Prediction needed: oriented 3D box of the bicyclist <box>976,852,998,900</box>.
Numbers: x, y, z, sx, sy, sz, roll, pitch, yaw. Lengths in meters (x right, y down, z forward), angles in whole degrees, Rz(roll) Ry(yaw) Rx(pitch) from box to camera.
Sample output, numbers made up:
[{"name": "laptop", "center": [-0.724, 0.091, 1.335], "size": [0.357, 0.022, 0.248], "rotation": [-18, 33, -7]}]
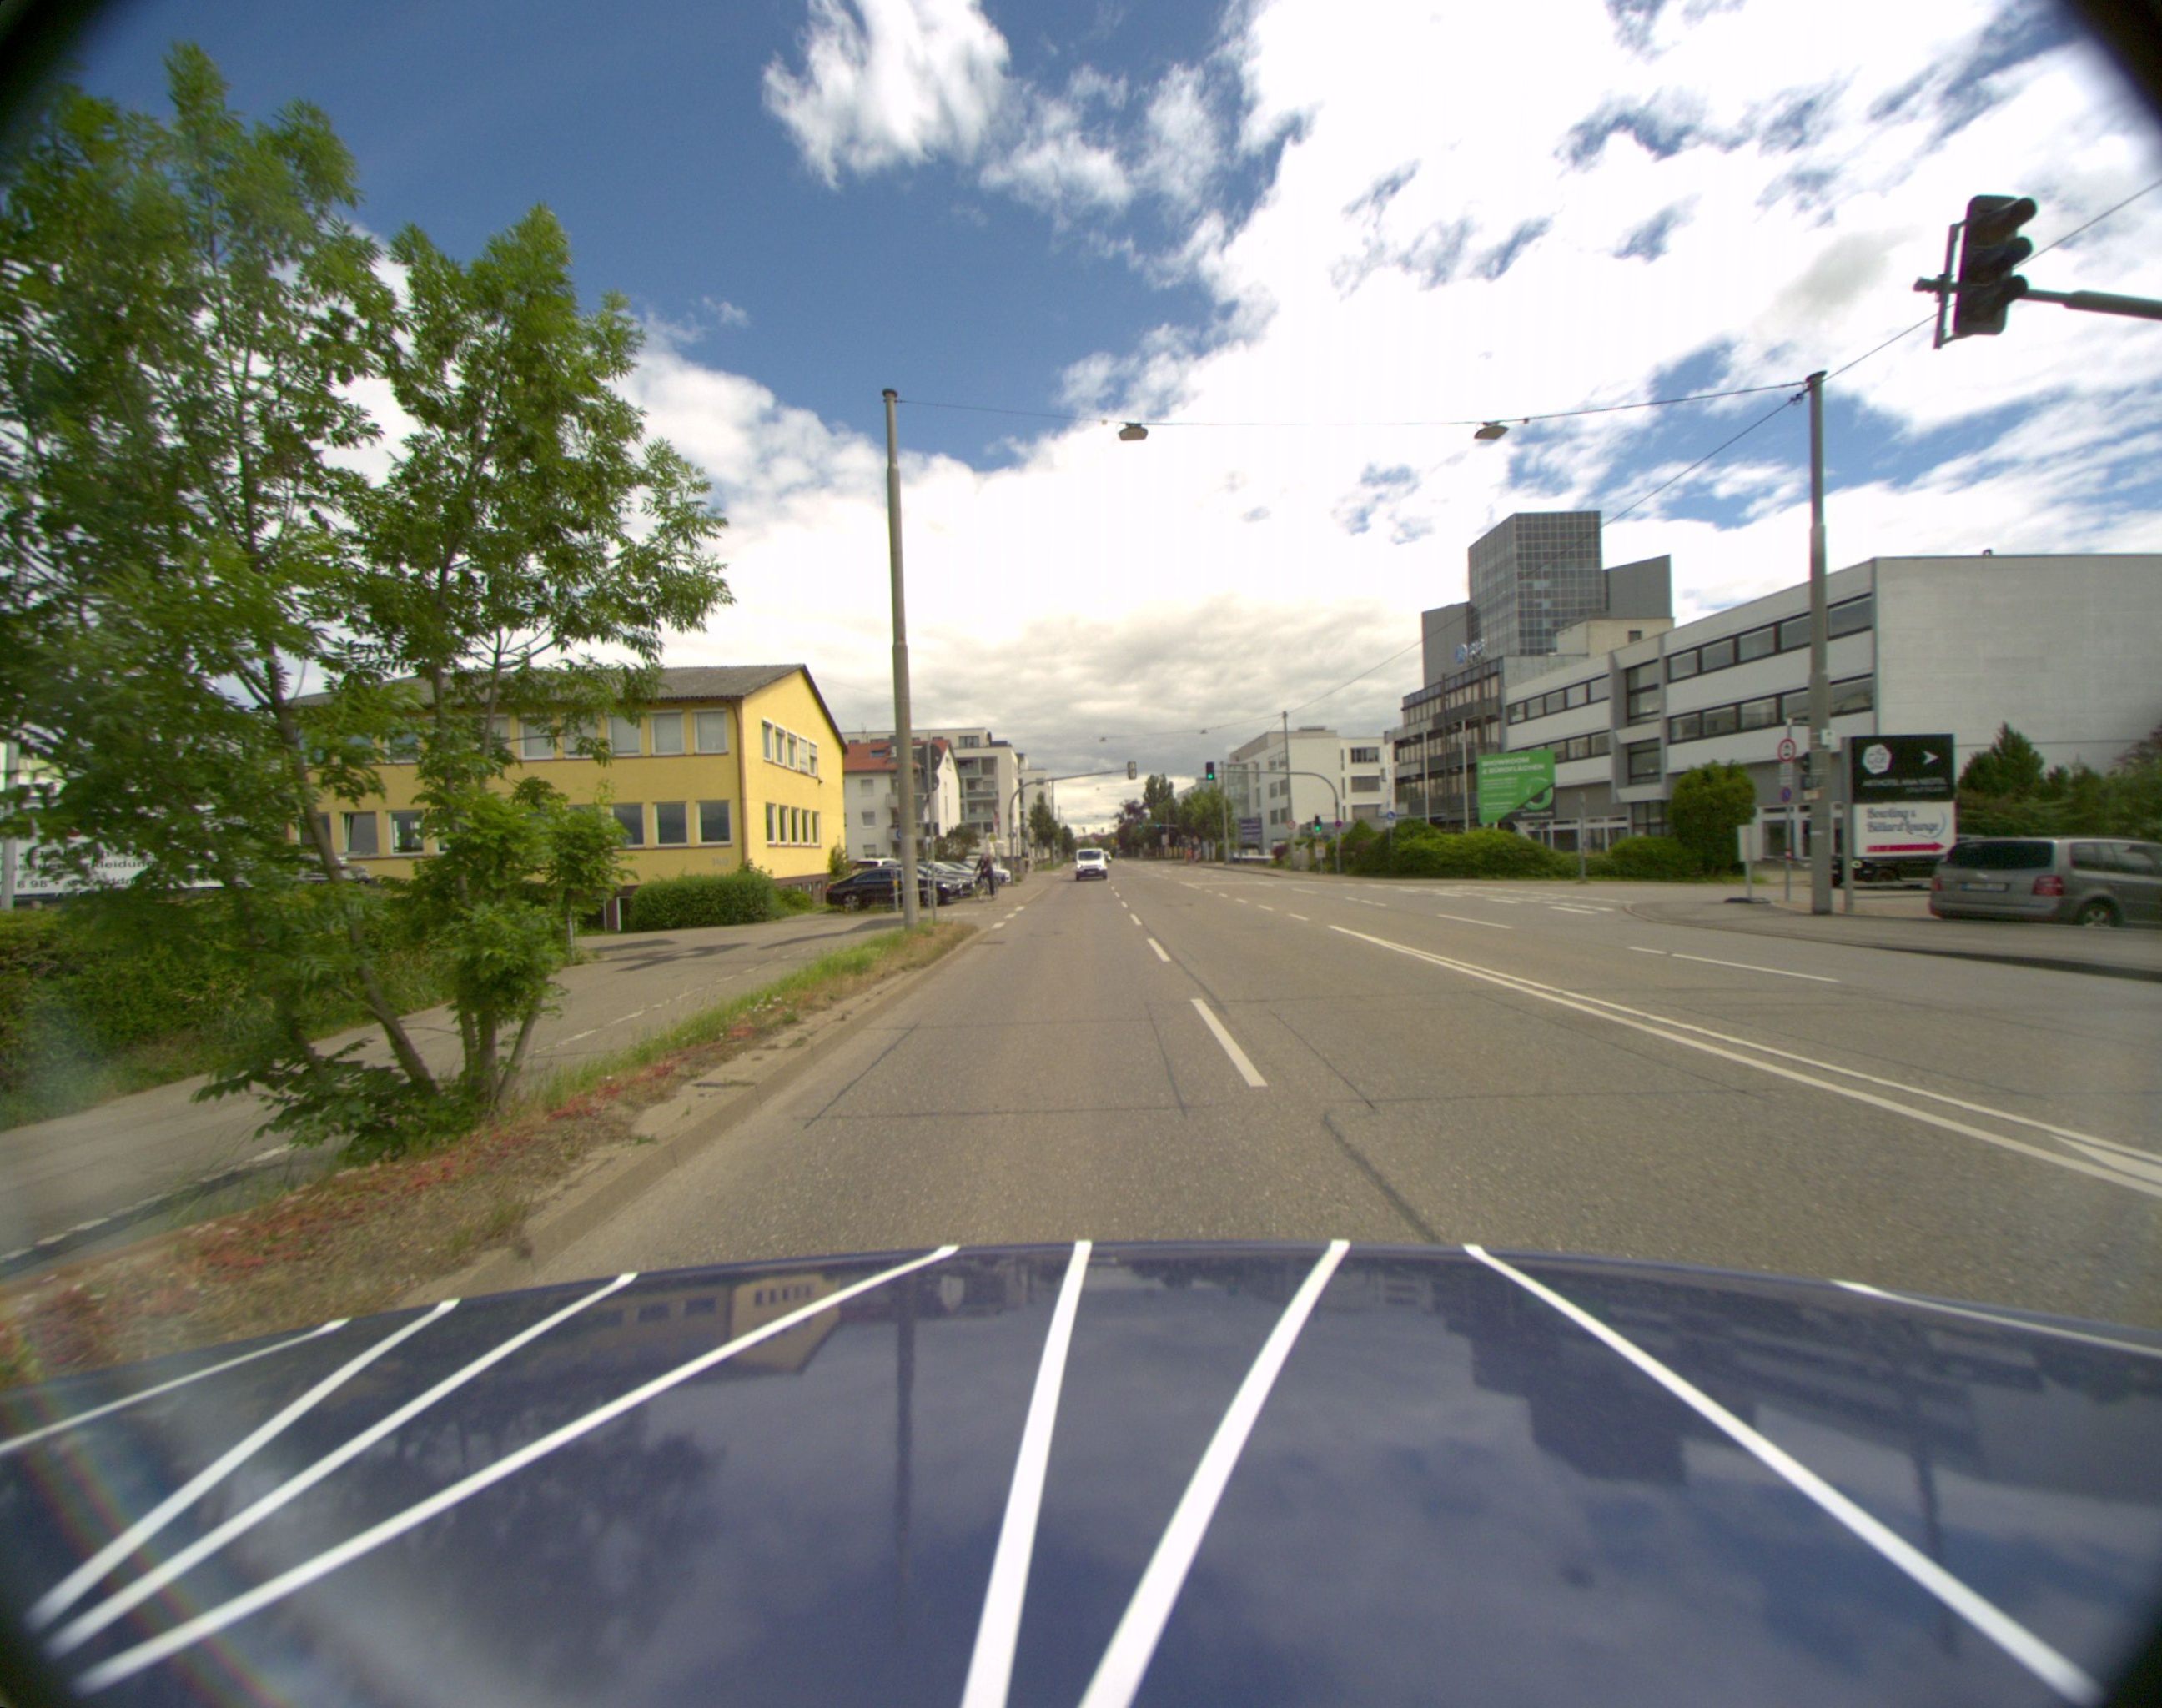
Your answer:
[{"name": "bicyclist", "center": [-3.311, 0.762, 26.865], "size": [0.639, 1.666, 0.890], "rotation": [1, 1, 0]}]

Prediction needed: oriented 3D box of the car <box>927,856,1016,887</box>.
[{"name": "car", "center": [-6.203, 0.989, 43.573], "size": [4.708, 1.484, 2.045], "rotation": [-3, 0, 0]}]

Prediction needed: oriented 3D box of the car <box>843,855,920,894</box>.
[{"name": "car", "center": [-10.698, 1.046, 41.176], "size": [1.979, 1.811, 5.032], "rotation": [-2, 2, 10]}]

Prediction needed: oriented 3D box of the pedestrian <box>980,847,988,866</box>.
[{"name": "pedestrian", "center": [-9.339, 0.240, 73.071], "size": [0.507, 1.755, 0.501], "rotation": [-4, 2, 17]}]

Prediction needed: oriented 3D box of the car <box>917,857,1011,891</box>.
[{"name": "car", "center": [-6.204, 1.039, 40.698], "size": [4.671, 1.485, 2.034], "rotation": [-3, 1, 0]}]

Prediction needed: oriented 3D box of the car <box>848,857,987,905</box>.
[{"name": "car", "center": [-6.311, 1.022, 29.704], "size": [4.864, 1.422, 2.038], "rotation": [-4, 1, 1]}]

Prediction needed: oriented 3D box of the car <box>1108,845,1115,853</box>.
[{"name": "car", "center": [9.375, -1.591, 235.189], "size": [2.148, 2.457, 6.072], "rotation": [-1, 1, 1]}]

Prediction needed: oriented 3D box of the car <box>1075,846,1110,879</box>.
[{"name": "car", "center": [0.675, 0.489, 49.131], "size": [1.999, 1.906, 3.998], "rotation": [-3, 1, -2]}]

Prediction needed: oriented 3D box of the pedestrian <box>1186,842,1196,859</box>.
[{"name": "pedestrian", "center": [13.315, -0.454, 92.243], "size": [0.724, 2.002, 0.812], "rotation": [-3, 2, 43]}]

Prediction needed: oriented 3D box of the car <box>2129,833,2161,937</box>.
[{"name": "car", "center": [16.761, 0.552, 9.780], "size": [3.998, 1.417, 1.854], "rotation": [3, 1, -2]}]

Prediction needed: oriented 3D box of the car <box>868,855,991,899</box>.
[{"name": "car", "center": [-6.352, 0.956, 32.308], "size": [4.688, 1.485, 2.015], "rotation": [-4, 1, 1]}]

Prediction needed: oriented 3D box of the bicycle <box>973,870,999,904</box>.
[{"name": "bicycle", "center": [-3.338, 1.145, 26.756], "size": [0.639, 1.057, 1.977], "rotation": [1, 1, 1]}]

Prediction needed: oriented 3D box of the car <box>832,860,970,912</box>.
[{"name": "car", "center": [-6.244, 1.097, 26.771], "size": [4.333, 1.391, 2.003], "rotation": [-4, 2, -2]}]

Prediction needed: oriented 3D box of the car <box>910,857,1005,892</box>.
[{"name": "car", "center": [-6.076, 0.997, 37.807], "size": [4.380, 1.396, 1.988], "rotation": [-4, 0, -1]}]

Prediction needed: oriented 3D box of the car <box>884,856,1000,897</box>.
[{"name": "car", "center": [-6.334, 0.991, 34.950], "size": [4.812, 1.472, 2.032], "rotation": [-4, 1, 2]}]

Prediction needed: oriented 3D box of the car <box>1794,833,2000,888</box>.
[{"name": "car", "center": [28.848, 0.197, 27.015], "size": [4.765, 1.783, 2.169], "rotation": [1, 3, 2]}]

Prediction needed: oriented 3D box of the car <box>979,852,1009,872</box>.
[{"name": "car", "center": [-6.939, 0.606, 60.861], "size": [1.880, 1.536, 4.520], "rotation": [-2, 0, -1]}]

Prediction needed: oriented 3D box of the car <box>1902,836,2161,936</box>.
[{"name": "car", "center": [16.200, 0.550, 12.281], "size": [4.106, 1.390, 1.907], "rotation": [3, -1, -7]}]

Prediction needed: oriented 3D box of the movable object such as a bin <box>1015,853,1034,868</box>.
[{"name": "movable object such as a bin", "center": [-5.396, 0.636, 72.622], "size": [1.321, 1.353, 1.252], "rotation": [-2, 2, 16]}]
